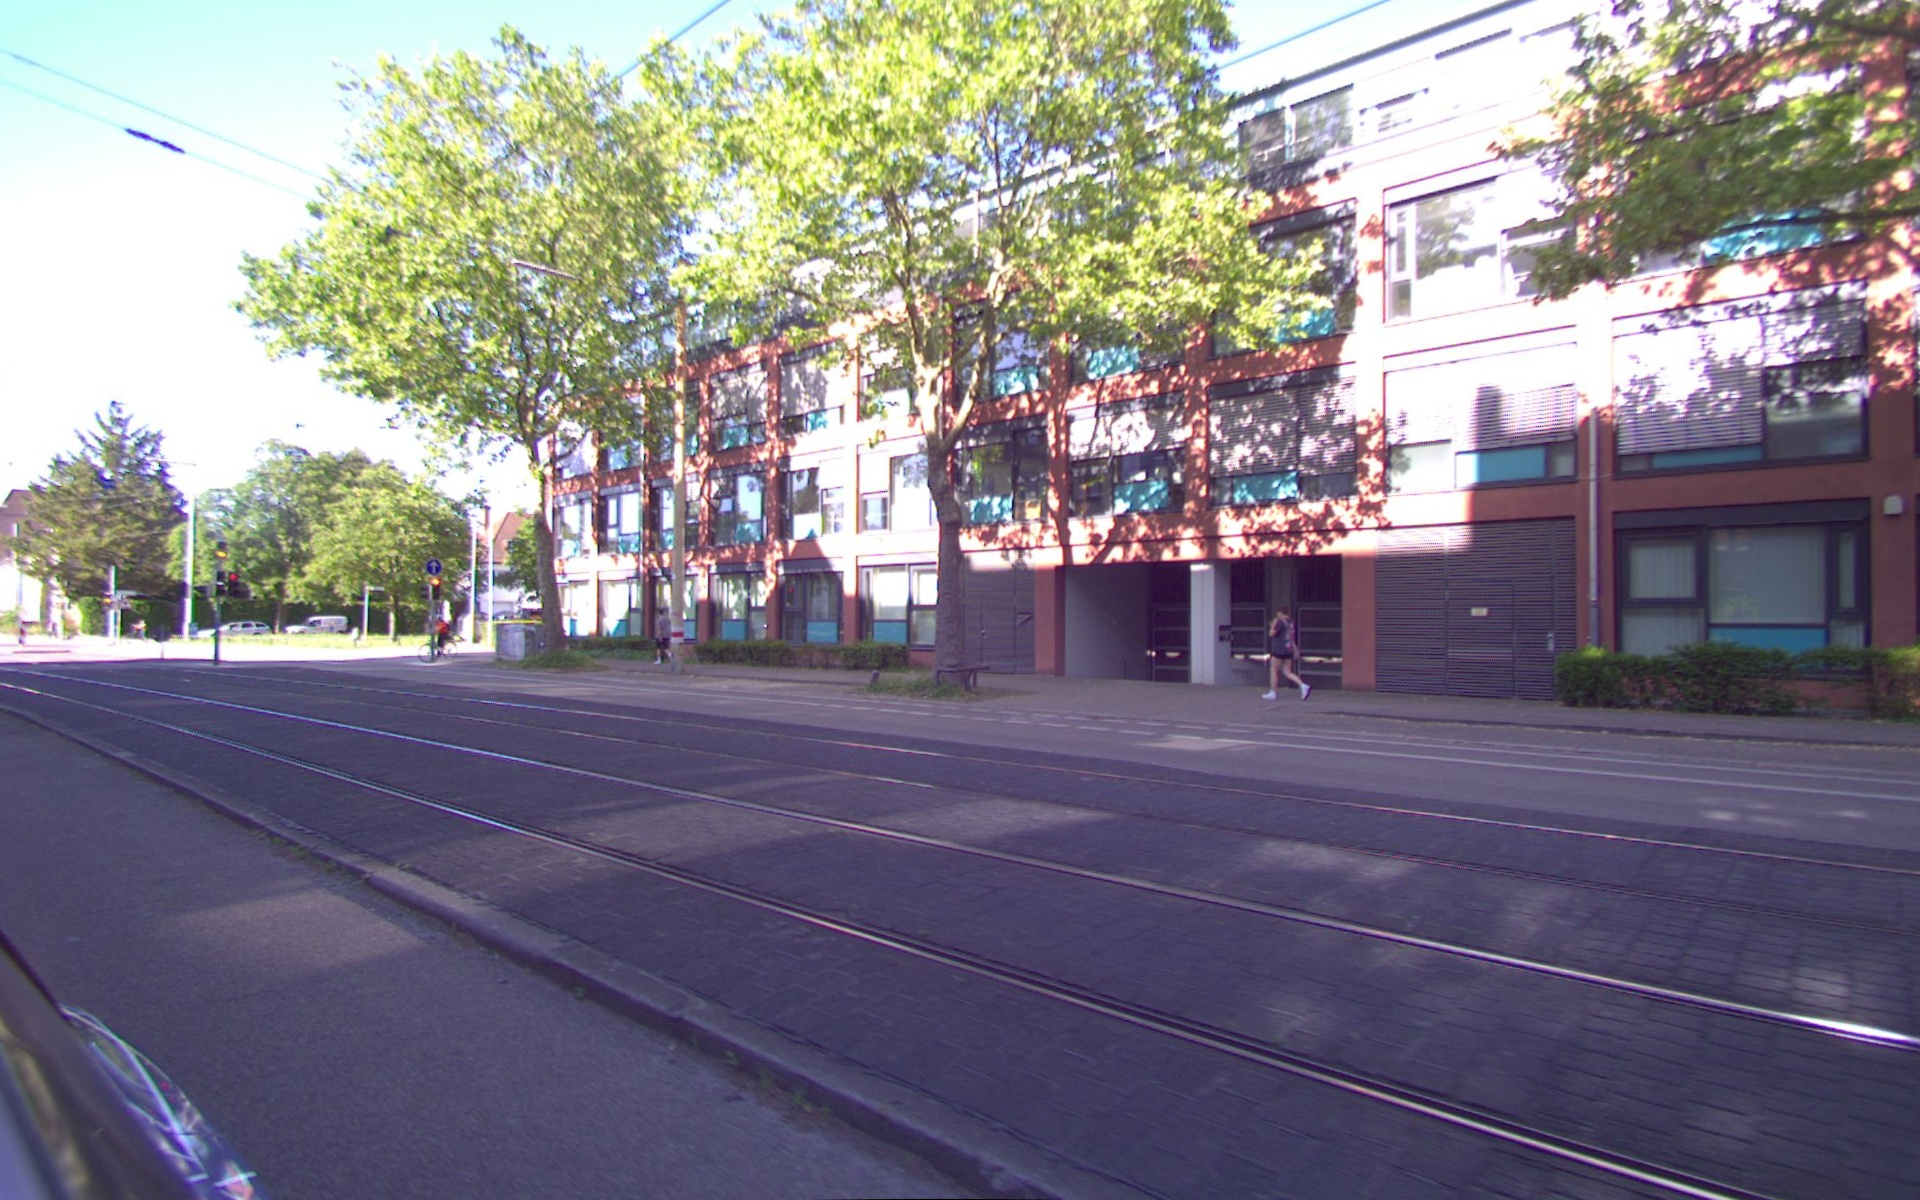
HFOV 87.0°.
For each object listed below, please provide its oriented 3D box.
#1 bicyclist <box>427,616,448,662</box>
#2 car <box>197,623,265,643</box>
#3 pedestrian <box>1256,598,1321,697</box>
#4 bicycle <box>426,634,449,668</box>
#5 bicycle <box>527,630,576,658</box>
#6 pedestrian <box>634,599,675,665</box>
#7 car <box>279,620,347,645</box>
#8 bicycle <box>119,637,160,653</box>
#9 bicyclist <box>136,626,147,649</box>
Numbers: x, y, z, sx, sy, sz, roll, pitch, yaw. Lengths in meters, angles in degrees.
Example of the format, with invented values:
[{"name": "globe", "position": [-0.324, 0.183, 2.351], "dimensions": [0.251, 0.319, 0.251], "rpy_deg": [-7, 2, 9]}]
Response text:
[{"name": "bicyclist", "position": [-19.606, 1.448, 37.952], "dimensions": [0.596, 1.705, 0.935], "rpy_deg": [-2, 0, -23]}, {"name": "car", "position": [-54.143, 2.456, 75.193], "dimensions": [3.939, 1.444, 1.818], "rpy_deg": [1, -2, -43]}, {"name": "pedestrian", "position": [5.909, 0.839, 18.225], "dimensions": [0.900, 1.731, 0.619], "rpy_deg": [-2, -1, 41]}, {"name": "bicycle", "position": [-19.577, 1.896, 37.931], "dimensions": [0.622, 1.138, 2.042], "rpy_deg": [0, 1, -24]}, {"name": "bicycle", "position": [-13.412, 1.436, 33.255], "dimensions": [1.531, 0.913, 0.519], "rpy_deg": [0, -1, 18]}, {"name": "pedestrian", "position": [-9.642, 1.008, 31.931], "dimensions": [0.778, 2.029, 0.903], "rpy_deg": [-2, 0, 33]}, {"name": "car", "position": [-51.938, 2.583, 81.262], "dimensions": [1.817, 1.881, 4.254], "rpy_deg": [-2, -1, 44]}, {"name": "bicycle", "position": [-58.220, 3.193, 71.828], "dimensions": [2.251, 1.126, 0.931], "rpy_deg": [1, -2, -41]}, {"name": "bicyclist", "position": [-58.147, 2.657, 71.901], "dimensions": [0.551, 1.635, 0.899], "rpy_deg": [1, -2, -41]}]
